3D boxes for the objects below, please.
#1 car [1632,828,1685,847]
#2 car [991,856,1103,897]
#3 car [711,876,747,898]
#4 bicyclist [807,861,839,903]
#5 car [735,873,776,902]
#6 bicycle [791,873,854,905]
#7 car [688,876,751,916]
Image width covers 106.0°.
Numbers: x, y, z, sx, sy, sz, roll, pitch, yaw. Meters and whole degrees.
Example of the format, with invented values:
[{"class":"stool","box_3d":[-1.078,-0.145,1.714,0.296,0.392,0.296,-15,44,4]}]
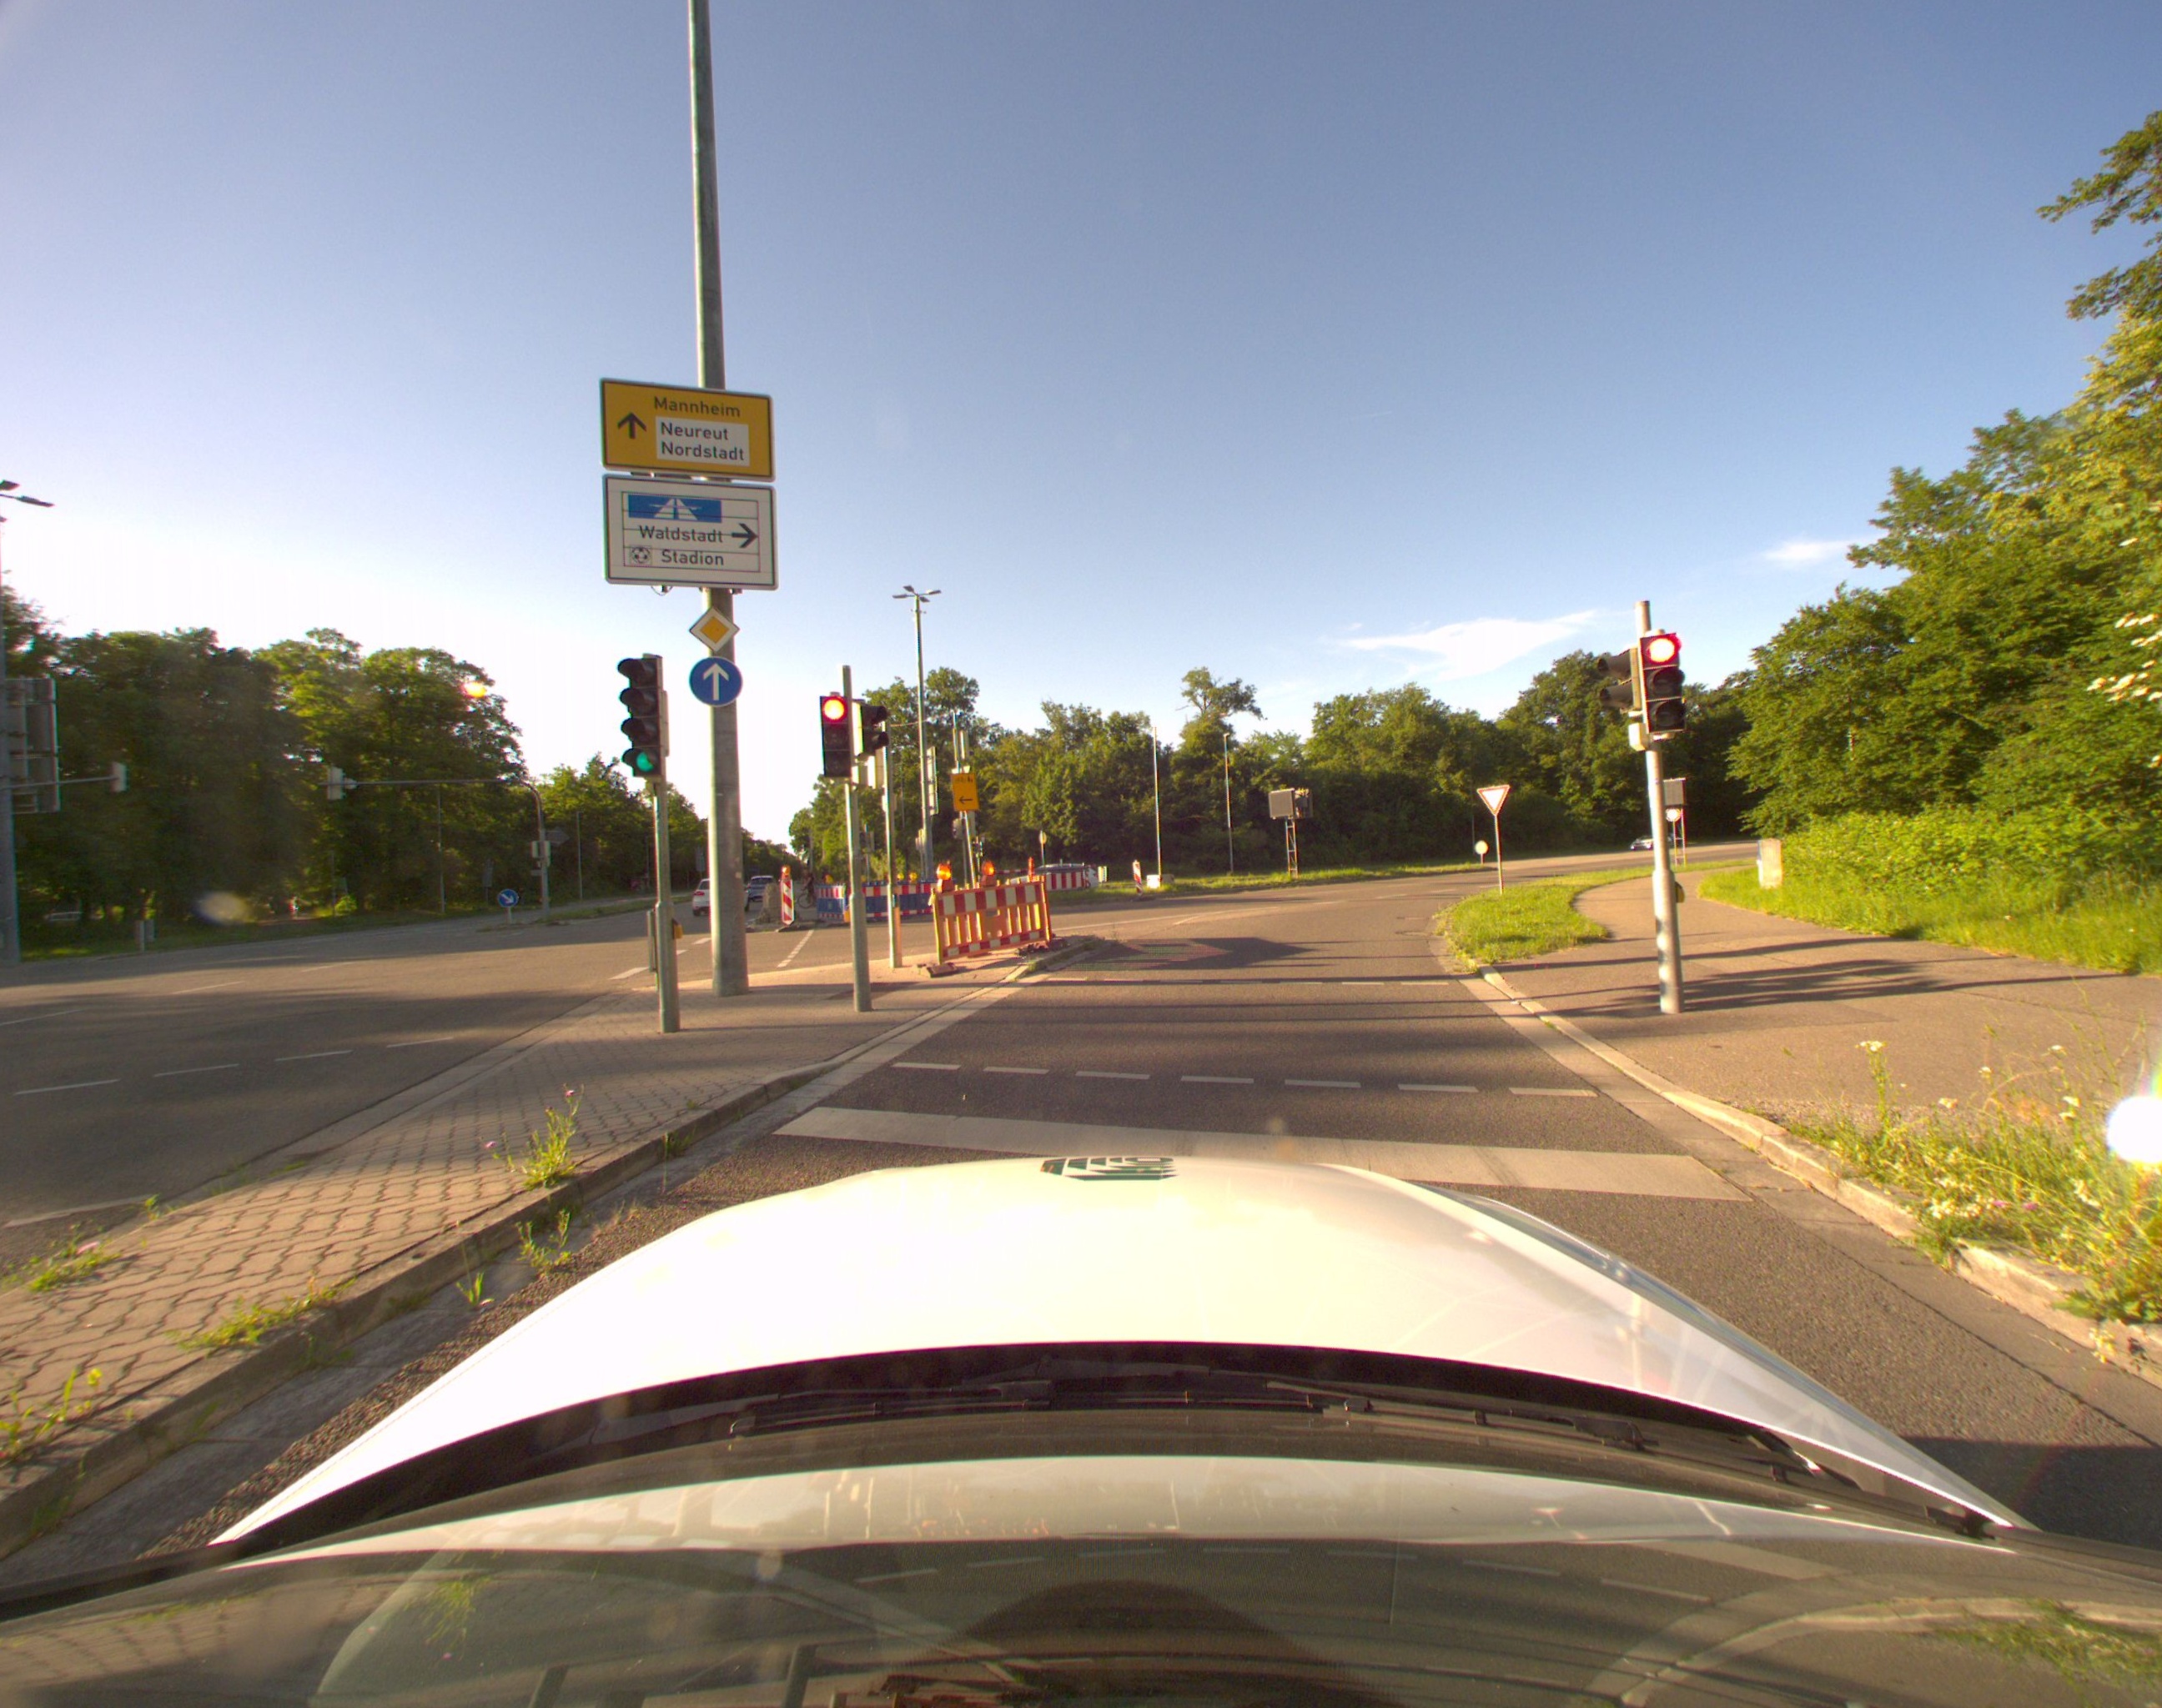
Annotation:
[{"class":"car","box_3d":[51.000,-1.422,71.865,4.822,1.436,1.980,-3,-1,-30]},{"class":"car","box_3d":[-1.513,1.014,37.410,4.856,1.580,1.977,-3,-1,-37]},{"class":"car","box_3d":[-25.927,2.395,60.075,1.867,1.444,3.979,-2,-1,-15]},{"class":"bicyclist","box_3d":[-12.057,1.297,38.052,0.956,1.930,1.022,-2,-1,43]},{"class":"car","box_3d":[-19.312,1.935,48.444,2.000,1.536,3.974,-3,-1,-19]},{"class":"bicycle","box_3d":[-12.032,1.610,38.053,0.956,1.383,2.656,-2,-1,43]},{"class":"car","box_3d":[-14.739,1.668,33.373,1.946,1.414,3.974,-3,-1,-19]}]
